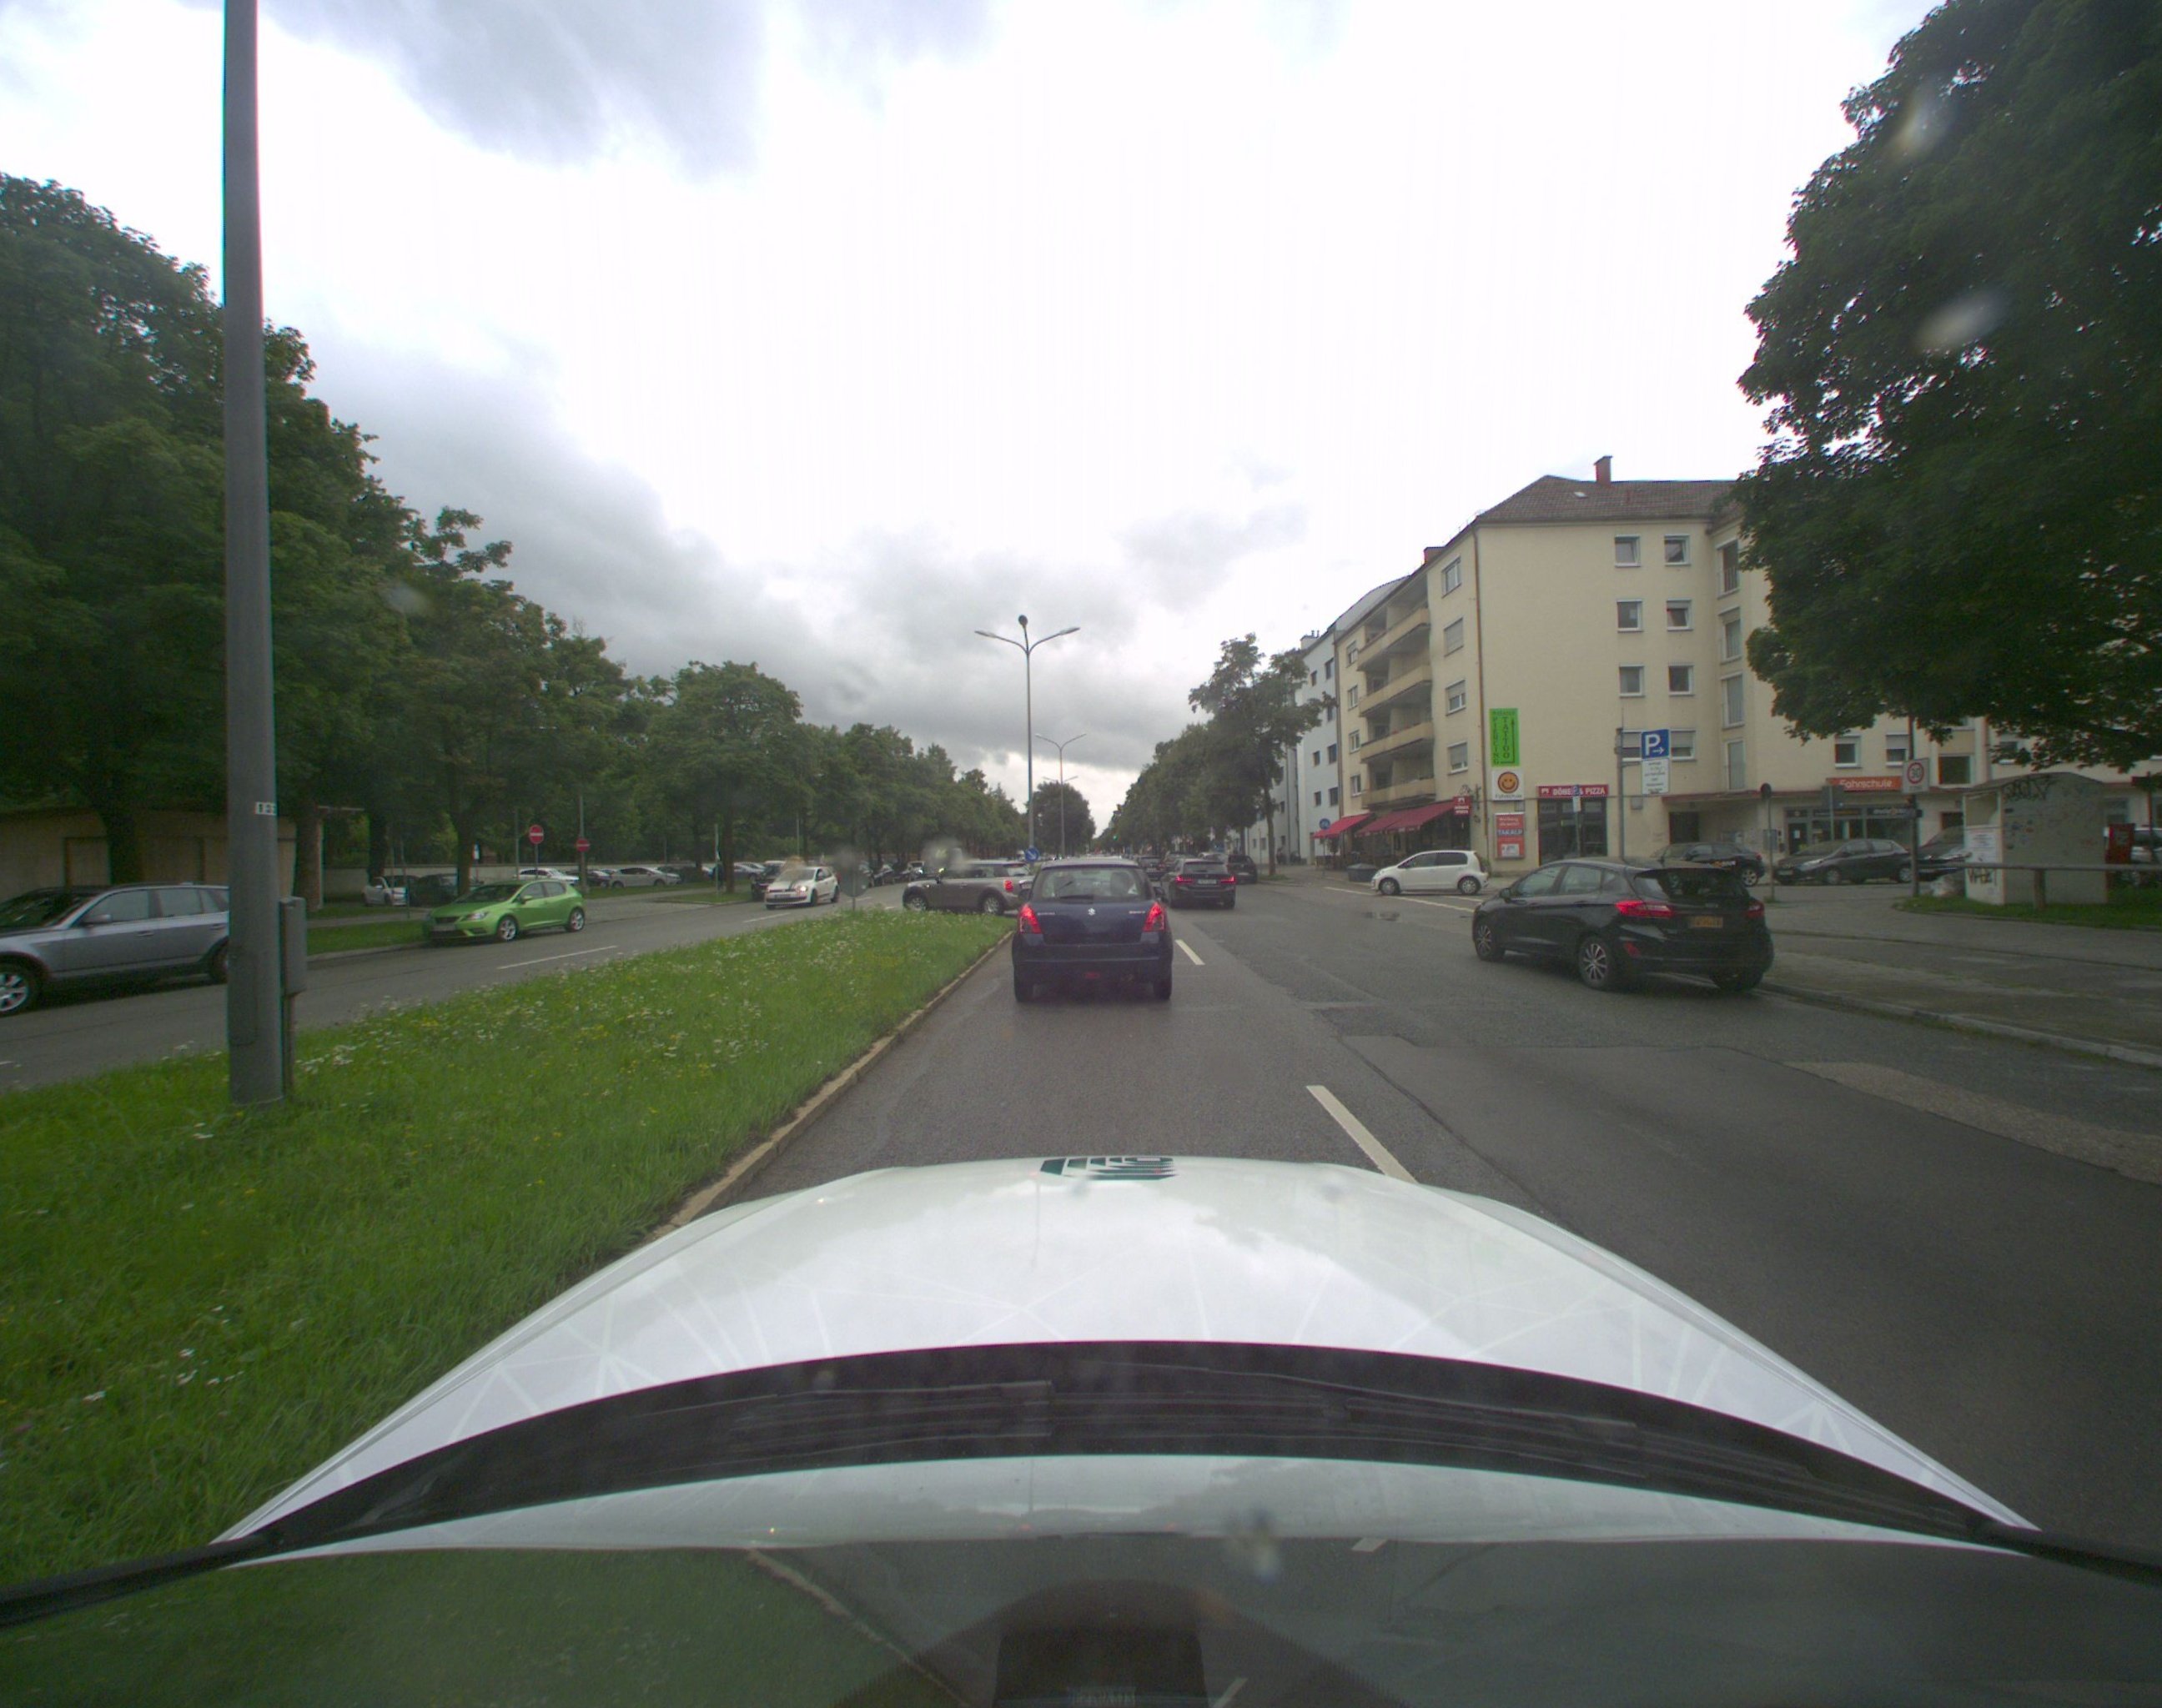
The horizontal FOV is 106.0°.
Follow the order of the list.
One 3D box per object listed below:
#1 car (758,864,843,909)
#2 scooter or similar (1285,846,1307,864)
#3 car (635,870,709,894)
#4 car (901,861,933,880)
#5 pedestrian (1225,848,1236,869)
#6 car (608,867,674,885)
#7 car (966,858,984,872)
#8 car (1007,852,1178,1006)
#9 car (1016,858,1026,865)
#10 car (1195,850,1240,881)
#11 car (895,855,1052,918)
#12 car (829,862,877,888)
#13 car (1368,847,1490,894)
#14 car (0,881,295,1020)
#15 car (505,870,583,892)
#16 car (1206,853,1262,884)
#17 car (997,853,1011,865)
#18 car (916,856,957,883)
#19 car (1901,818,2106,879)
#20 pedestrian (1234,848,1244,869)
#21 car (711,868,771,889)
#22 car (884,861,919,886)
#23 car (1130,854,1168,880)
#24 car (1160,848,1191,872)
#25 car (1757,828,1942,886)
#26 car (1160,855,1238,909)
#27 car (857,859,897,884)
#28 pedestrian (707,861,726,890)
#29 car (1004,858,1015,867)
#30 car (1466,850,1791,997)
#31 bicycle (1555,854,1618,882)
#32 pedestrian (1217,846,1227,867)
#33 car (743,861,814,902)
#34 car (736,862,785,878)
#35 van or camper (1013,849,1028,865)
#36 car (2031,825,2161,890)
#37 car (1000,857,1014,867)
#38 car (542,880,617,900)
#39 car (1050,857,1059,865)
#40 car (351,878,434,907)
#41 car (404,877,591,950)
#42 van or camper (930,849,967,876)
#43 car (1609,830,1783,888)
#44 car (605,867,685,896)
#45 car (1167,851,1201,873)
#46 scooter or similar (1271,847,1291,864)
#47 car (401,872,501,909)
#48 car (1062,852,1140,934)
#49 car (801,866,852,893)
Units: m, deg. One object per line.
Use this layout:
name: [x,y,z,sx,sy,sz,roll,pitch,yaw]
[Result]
car: [-10.044,1.130,29.486,1.613,1.375,3.838,-3,0,1]
scooter or similar: [16.602,0.088,62.891,1.029,1.307,2.756,-2,0,2]
car: [-26.171,1.799,52.149,3.859,1.445,1.670,-1,0,-5]
car: [-12.965,1.261,64.550,1.627,1.431,3.879,-1,0,0]
pedestrian: [14.479,0.412,78.814,0.791,2.013,1.006,-1,0,2]
car: [-37.263,1.848,68.955,4.673,1.445,1.673,-1,0,1]
car: [-12.242,1.302,94.259,1.627,1.583,3.879,-1,0,0]
car: [0.128,0.743,10.083,1.676,1.502,3.918,-1,0,0]
car: [-12.404,1.528,168.644,1.627,1.583,3.879,-1,0,0]
car: [7.538,0.602,45.351,1.786,1.558,4.224,-2,0,0]
car: [-2.769,0.797,20.804,3.686,1.463,1.698,-1,0,31]
car: [-13.252,1.194,47.488,1.661,1.445,3.879,-1,0,0]
car: [11.471,0.550,26.810,3.515,1.417,1.883,-2,0,27]
car: [-14.251,1.305,11.640,1.685,1.586,4.371,-3,0,0]
car: [-38.309,1.922,58.170,4.489,1.476,1.673,-1,-1,1]
car: [7.549,0.679,40.574,1.861,1.417,4.221,-2,0,-2]
car: [-11.099,0.723,117.281,1.627,1.583,3.879,-1,0,0]
car: [-9.626,0.998,54.460,1.760,1.623,4.507,-3,0,1]
car: [30.559,-0.185,27.073,4.720,1.773,1.871,-2,0,-1]
pedestrian: [15.403,0.405,79.387,0.791,2.013,1.006,-1,0,2]
car: [-25.796,1.854,61.919,3.859,1.445,1.670,-1,0,-5]
car: [-12.992,1.378,59.213,1.627,1.741,3.879,-1,0,0]
car: [3.831,0.709,46.537,1.726,1.432,4.439,0,0,-2]
car: [7.322,0.443,63.179,1.860,1.682,4.223,-2,0,0]
car: [25.086,0.104,26.684,4.381,1.661,1.870,-2,0,-2]
car: [3.383,0.759,24.130,1.752,1.413,4.463,0,0,1]
car: [-13.185,1.122,52.838,1.585,1.558,3.879,-1,0,0]
pedestrian: [-19.996,1.184,44.685,0.725,1.534,0.721,-1,-1,2]
car: [-12.922,1.448,147.411,1.627,1.583,3.879,-1,0,0]
car: [6.397,0.709,10.062,1.611,1.465,3.675,0,0,1]
bicycle: [17.784,0.504,28.666,1.841,0.957,0.557,-1,-1,0]
pedestrian: [13.614,0.199,78.862,0.791,2.013,1.006,-1,0,2]
car: [-13.680,1.202,37.020,1.711,1.741,3.879,-1,0,0]
car: [-29.120,1.443,74.077,3.859,1.445,1.670,-1,0,-5]
van or camper: [-12.980,0.637,175.517,2.552,3.296,6.937,-1,0,1]
car: [29.476,0.044,22.512,4.380,1.660,1.871,-1,1,-2]
car: [-11.183,1.209,123.194,1.627,1.583,3.879,-1,0,0]
car: [-38.236,2.736,62.170,4.673,1.445,1.673,-1,0,1]
car: [-5.490,1.432,170.045,1.627,1.552,3.879,-1,0,0]
car: [-31.301,1.712,36.983,4.363,1.201,1.683,-1,-1,33]
car: [-14.062,1.368,19.932,1.541,1.409,3.883,-3,0,4]
van or camper: [-12.721,0.819,78.737,2.109,2.482,7.452,-1,0,2]
car: [20.117,0.164,26.755,4.384,1.661,1.869,-2,0,-4]
car: [-26.433,1.652,49.455,3.911,1.718,1.670,-1,0,-5]
car: [7.391,0.547,58.617,1.860,1.517,4.223,-2,0,0]
scooter or similar: [16.354,0.128,66.665,1.029,1.307,2.756,-2,0,2]
car: [-26.500,1.482,34.242,4.363,1.445,1.973,-1,-1,33]
car: [0.381,0.725,16.719,1.439,1.483,3.106,-1,0,0]
car: [-13.292,1.284,42.687,1.585,1.312,3.381,-1,0,0]
